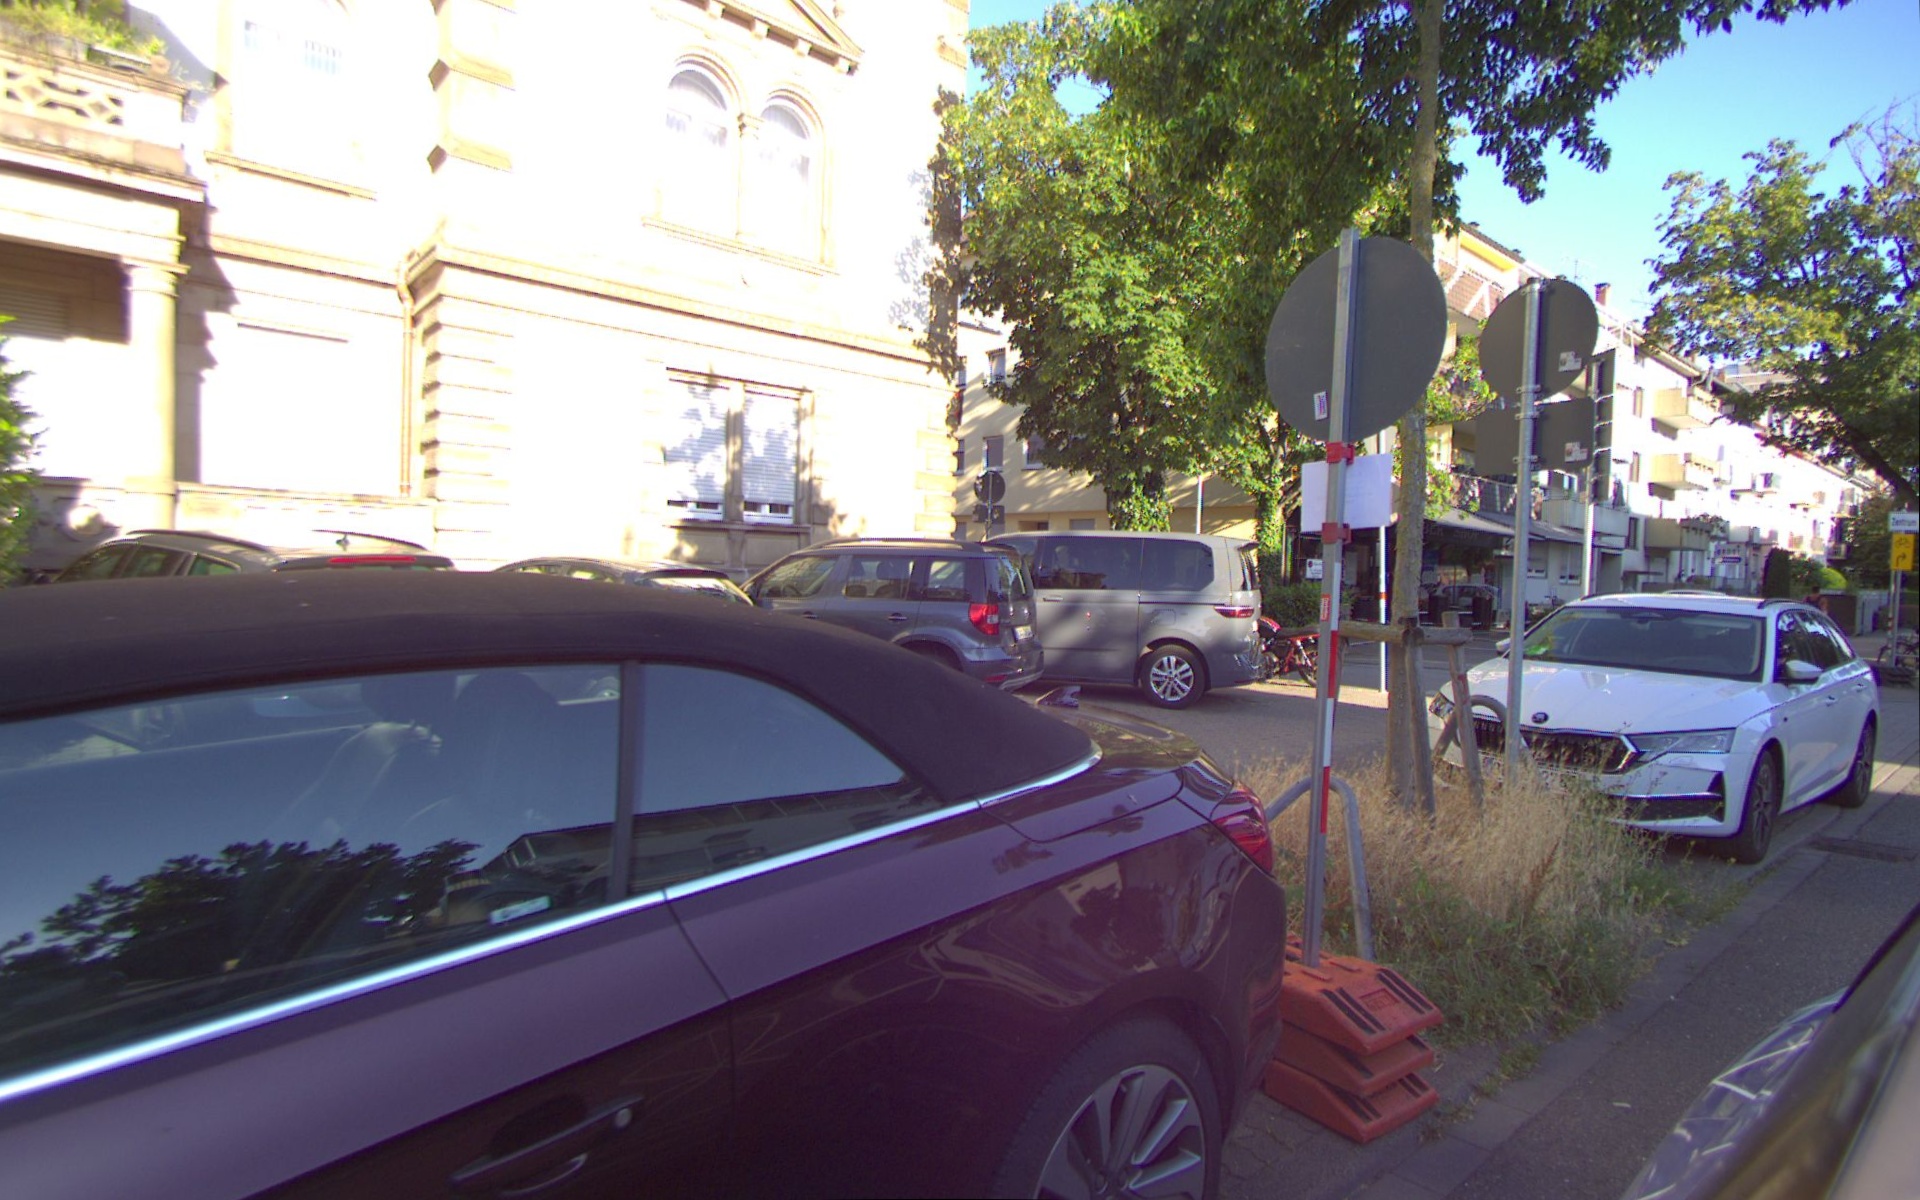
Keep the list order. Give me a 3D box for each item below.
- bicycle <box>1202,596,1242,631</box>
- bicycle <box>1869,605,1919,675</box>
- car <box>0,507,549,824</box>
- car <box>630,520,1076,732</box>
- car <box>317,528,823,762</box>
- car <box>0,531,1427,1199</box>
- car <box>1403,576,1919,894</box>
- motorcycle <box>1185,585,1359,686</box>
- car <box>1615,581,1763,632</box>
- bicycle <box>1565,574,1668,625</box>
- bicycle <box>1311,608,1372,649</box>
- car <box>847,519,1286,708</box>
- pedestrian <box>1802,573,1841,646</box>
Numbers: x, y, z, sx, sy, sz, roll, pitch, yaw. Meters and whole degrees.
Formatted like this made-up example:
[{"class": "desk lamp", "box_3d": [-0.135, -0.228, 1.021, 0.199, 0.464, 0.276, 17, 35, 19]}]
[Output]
[{"class": "bicycle", "box_3d": [5.857, 0.301, 22.619, 0.896, 0.752, 0.428, 0, 2, -40]}, {"class": "bicycle", "box_3d": [17.018, 0.736, 17.469, 0.602, 1.176, 1.905, 1, 3, -13]}, {"class": "car", "box_3d": [-4.938, 0.213, 6.947, 4.220, 1.529, 1.772, 4, 3, 32]}, {"class": "car", "box_3d": [-1.047, 0.141, 10.103, 4.050, 1.720, 1.776, 3, 2, 20]}, {"class": "car", "box_3d": [-3.346, 0.227, 8.561, 4.061, 1.458, 1.701, 4, 3, 27]}, {"class": "car", "box_3d": [-1.124, 0.636, 1.755, 4.534, 1.437, 1.761, 0, 4, -41]}, {"class": "car", "box_3d": [5.061, 0.624, 7.024, 4.540, 1.496, 1.825, 0, 2, -40]}, {"class": "motorcycle", "box_3d": [4.283, 0.443, 14.016, 2.153, 1.255, 0.778, 2, 2, 40]}, {"class": "car", "box_3d": [24.690, 0.180, 34.365, 1.550, 1.523, 3.869, 0, 2, -45]}, {"class": "bicycle", "box_3d": [19.886, -0.037, 30.711, 0.912, 1.459, 2.457, 0, 2, -42]}, {"class": "bicycle", "box_3d": [7.874, 0.574, 20.866, 1.504, 0.777, 0.486, 0, 2, -40]}, {"class": "car", "box_3d": [1.267, 0.052, 12.096, 4.881, 1.923, 1.907, 2, 1, 22]}, {"class": "pedestrian", "box_3d": [21.845, 0.238, 25.668, 0.552, 1.794, 0.619, 2, 1, -40]}]
